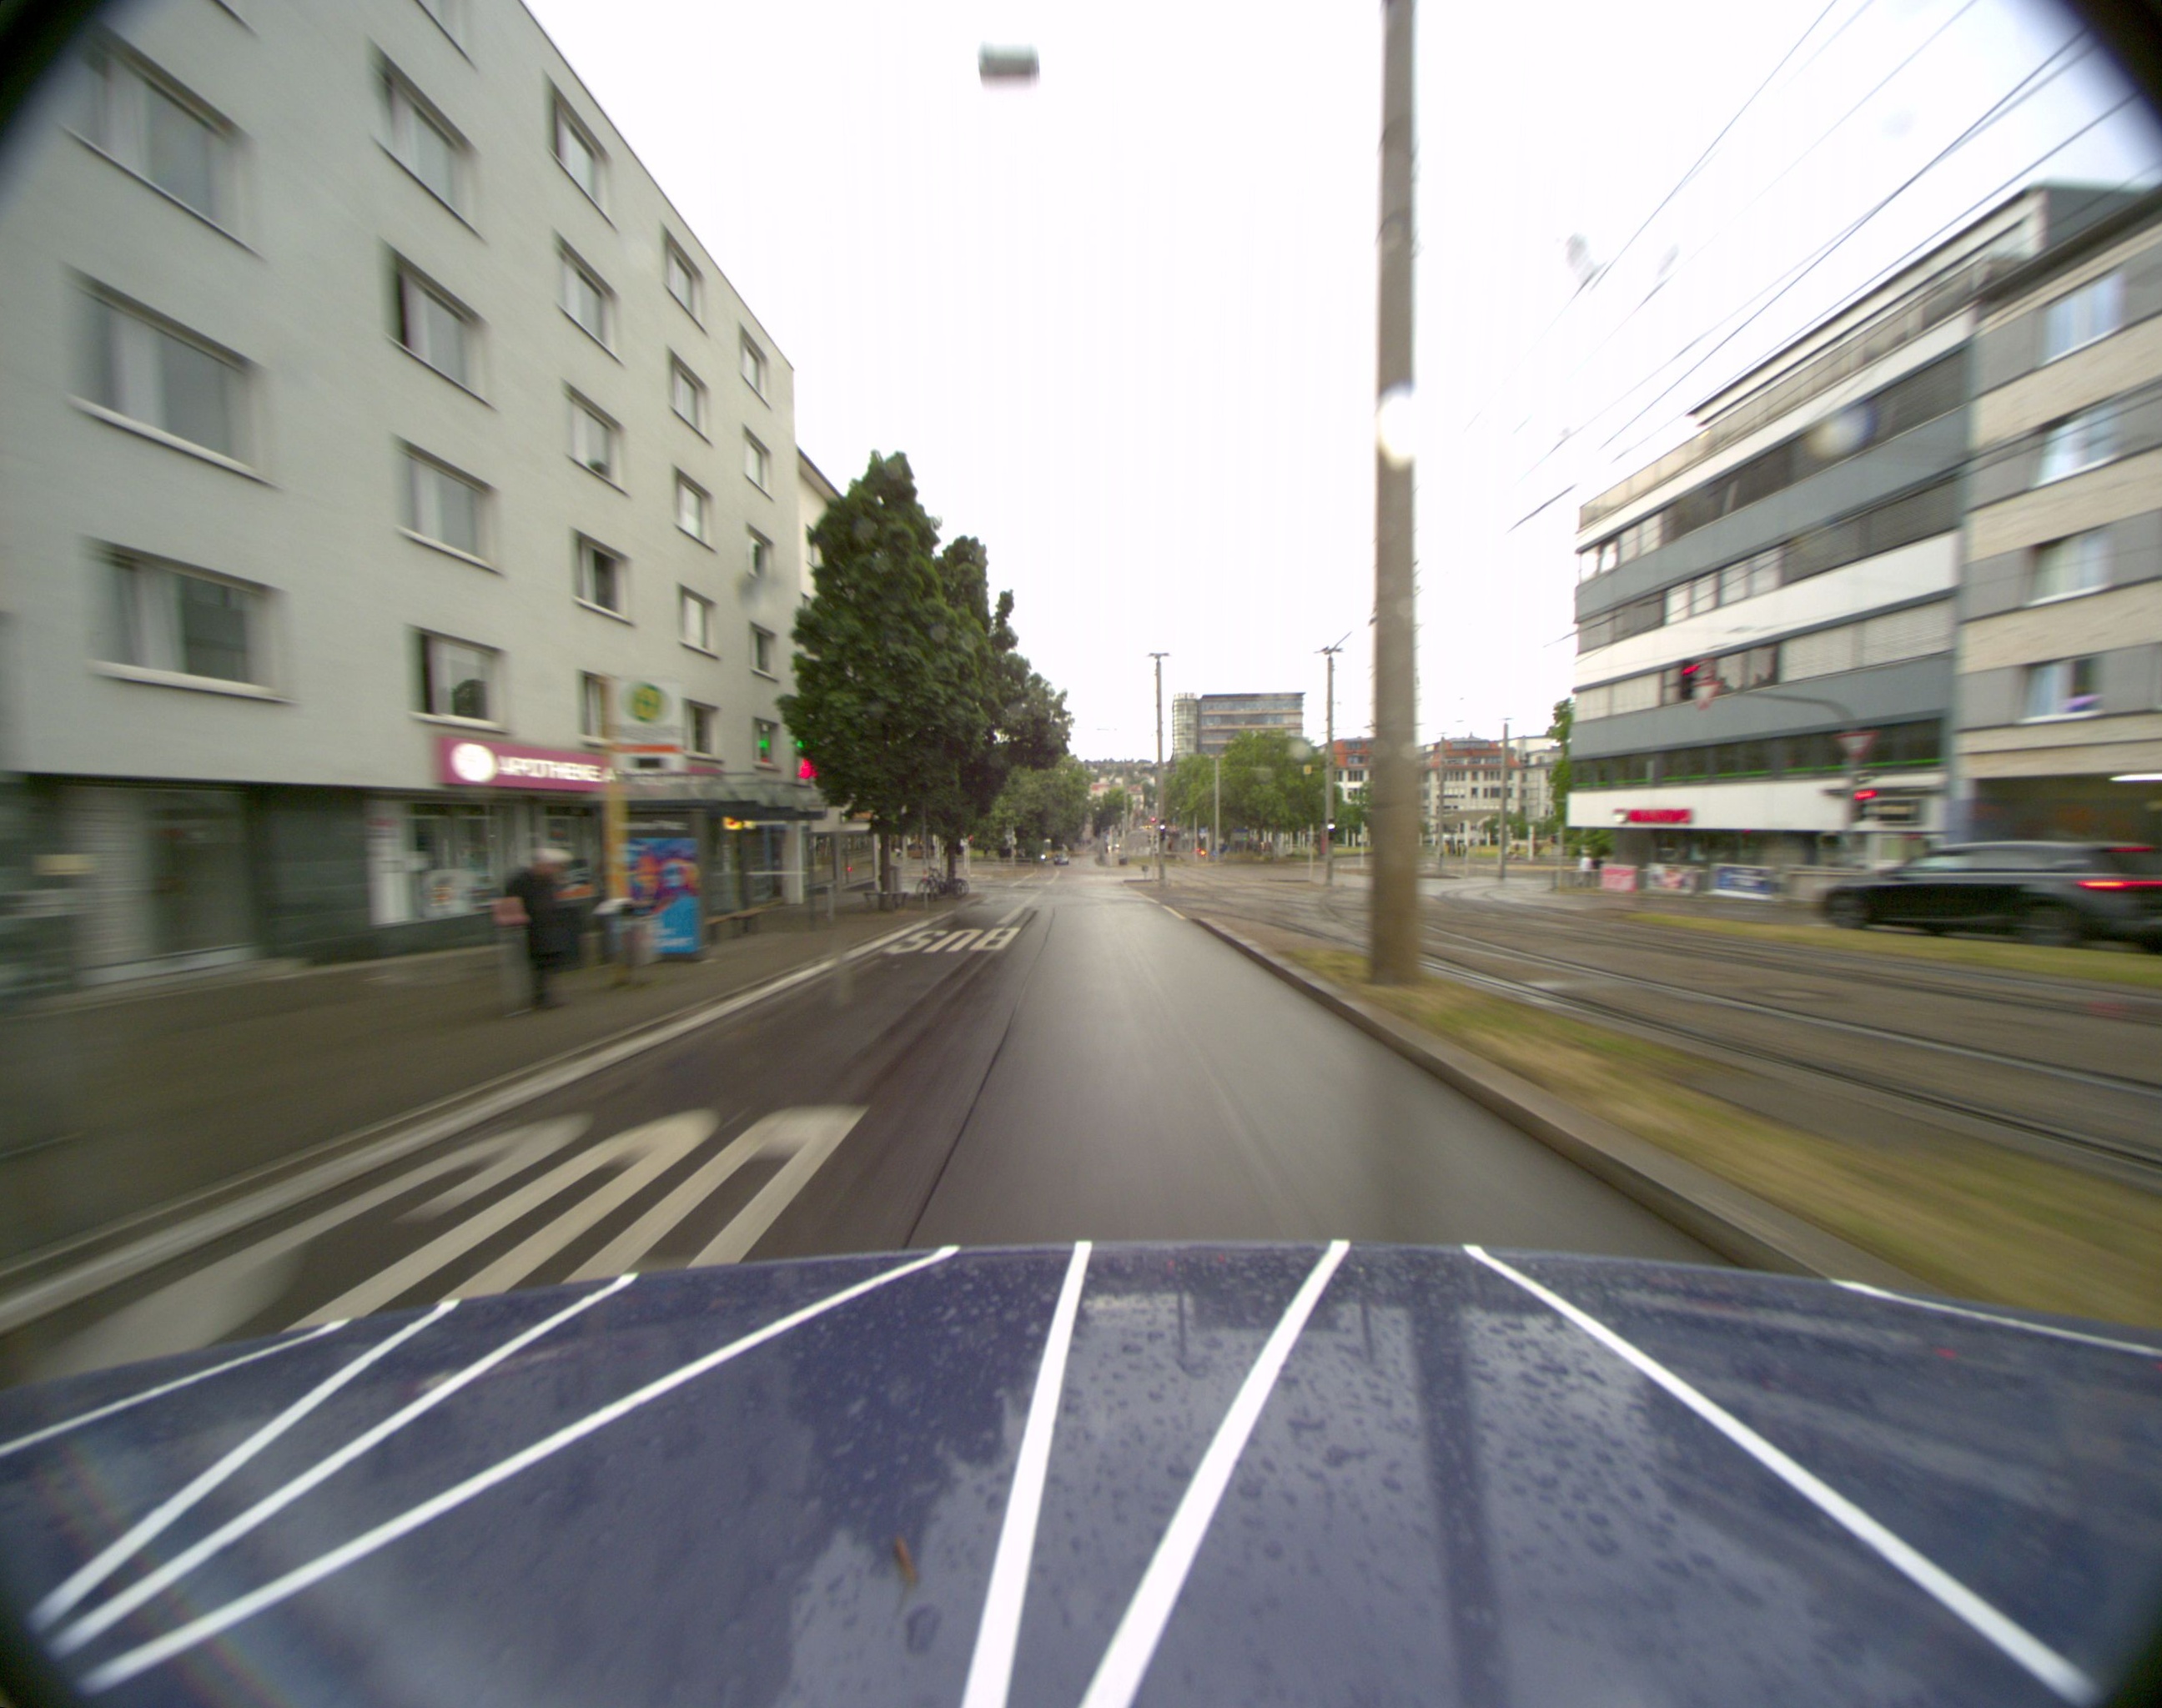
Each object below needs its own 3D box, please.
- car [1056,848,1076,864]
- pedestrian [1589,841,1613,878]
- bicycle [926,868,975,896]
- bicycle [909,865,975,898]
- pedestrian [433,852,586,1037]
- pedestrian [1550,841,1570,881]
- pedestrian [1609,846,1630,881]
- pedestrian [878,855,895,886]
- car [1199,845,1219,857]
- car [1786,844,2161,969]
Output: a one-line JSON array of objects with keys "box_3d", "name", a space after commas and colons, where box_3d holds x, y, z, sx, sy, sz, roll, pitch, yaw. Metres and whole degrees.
[{"box_3d": [-1.731, 0.156, 87.393, 1.998, 1.696, 3.999, -1, 2, 2], "name": "car"}, {"box_3d": [26.524, 0.272, 38.756, 0.719, 1.903, 0.698, -1, 2, -1], "name": "pedestrian"}, {"box_3d": [-5.184, 1.099, 30.211, 1.820, 1.085, 0.649, 0, 0, 4], "name": "bicycle"}, {"box_3d": [-5.175, 1.022, 28.307, 2.321, 1.167, 0.649, 0, 2, 4], "name": "bicycle"}, {"box_3d": [-5.334, 0.797, 7.160, 0.667, 1.617, 0.967, -1, 1, 0], "name": "pedestrian"}, {"box_3d": [23.568, 0.325, 37.367, 0.696, 1.903, 0.720, 1, 3, 42], "name": "pedestrian"}, {"box_3d": [27.162, 0.462, 38.296, 0.720, 1.752, 0.696, -3, 3, -41], "name": "pedestrian"}, {"box_3d": [-10.676, 0.891, 41.737, 0.703, 1.703, 0.529, 1, 3, 42], "name": "pedestrian"}, {"box_3d": [17.787, -0.432, 105.697, 2.104, 1.497, 4.731, -1, 2, 2], "name": "car"}, {"box_3d": [14.682, 0.684, 12.401, 1.999, 1.663, 4.525, 0, 0, -4], "name": "car"}]
